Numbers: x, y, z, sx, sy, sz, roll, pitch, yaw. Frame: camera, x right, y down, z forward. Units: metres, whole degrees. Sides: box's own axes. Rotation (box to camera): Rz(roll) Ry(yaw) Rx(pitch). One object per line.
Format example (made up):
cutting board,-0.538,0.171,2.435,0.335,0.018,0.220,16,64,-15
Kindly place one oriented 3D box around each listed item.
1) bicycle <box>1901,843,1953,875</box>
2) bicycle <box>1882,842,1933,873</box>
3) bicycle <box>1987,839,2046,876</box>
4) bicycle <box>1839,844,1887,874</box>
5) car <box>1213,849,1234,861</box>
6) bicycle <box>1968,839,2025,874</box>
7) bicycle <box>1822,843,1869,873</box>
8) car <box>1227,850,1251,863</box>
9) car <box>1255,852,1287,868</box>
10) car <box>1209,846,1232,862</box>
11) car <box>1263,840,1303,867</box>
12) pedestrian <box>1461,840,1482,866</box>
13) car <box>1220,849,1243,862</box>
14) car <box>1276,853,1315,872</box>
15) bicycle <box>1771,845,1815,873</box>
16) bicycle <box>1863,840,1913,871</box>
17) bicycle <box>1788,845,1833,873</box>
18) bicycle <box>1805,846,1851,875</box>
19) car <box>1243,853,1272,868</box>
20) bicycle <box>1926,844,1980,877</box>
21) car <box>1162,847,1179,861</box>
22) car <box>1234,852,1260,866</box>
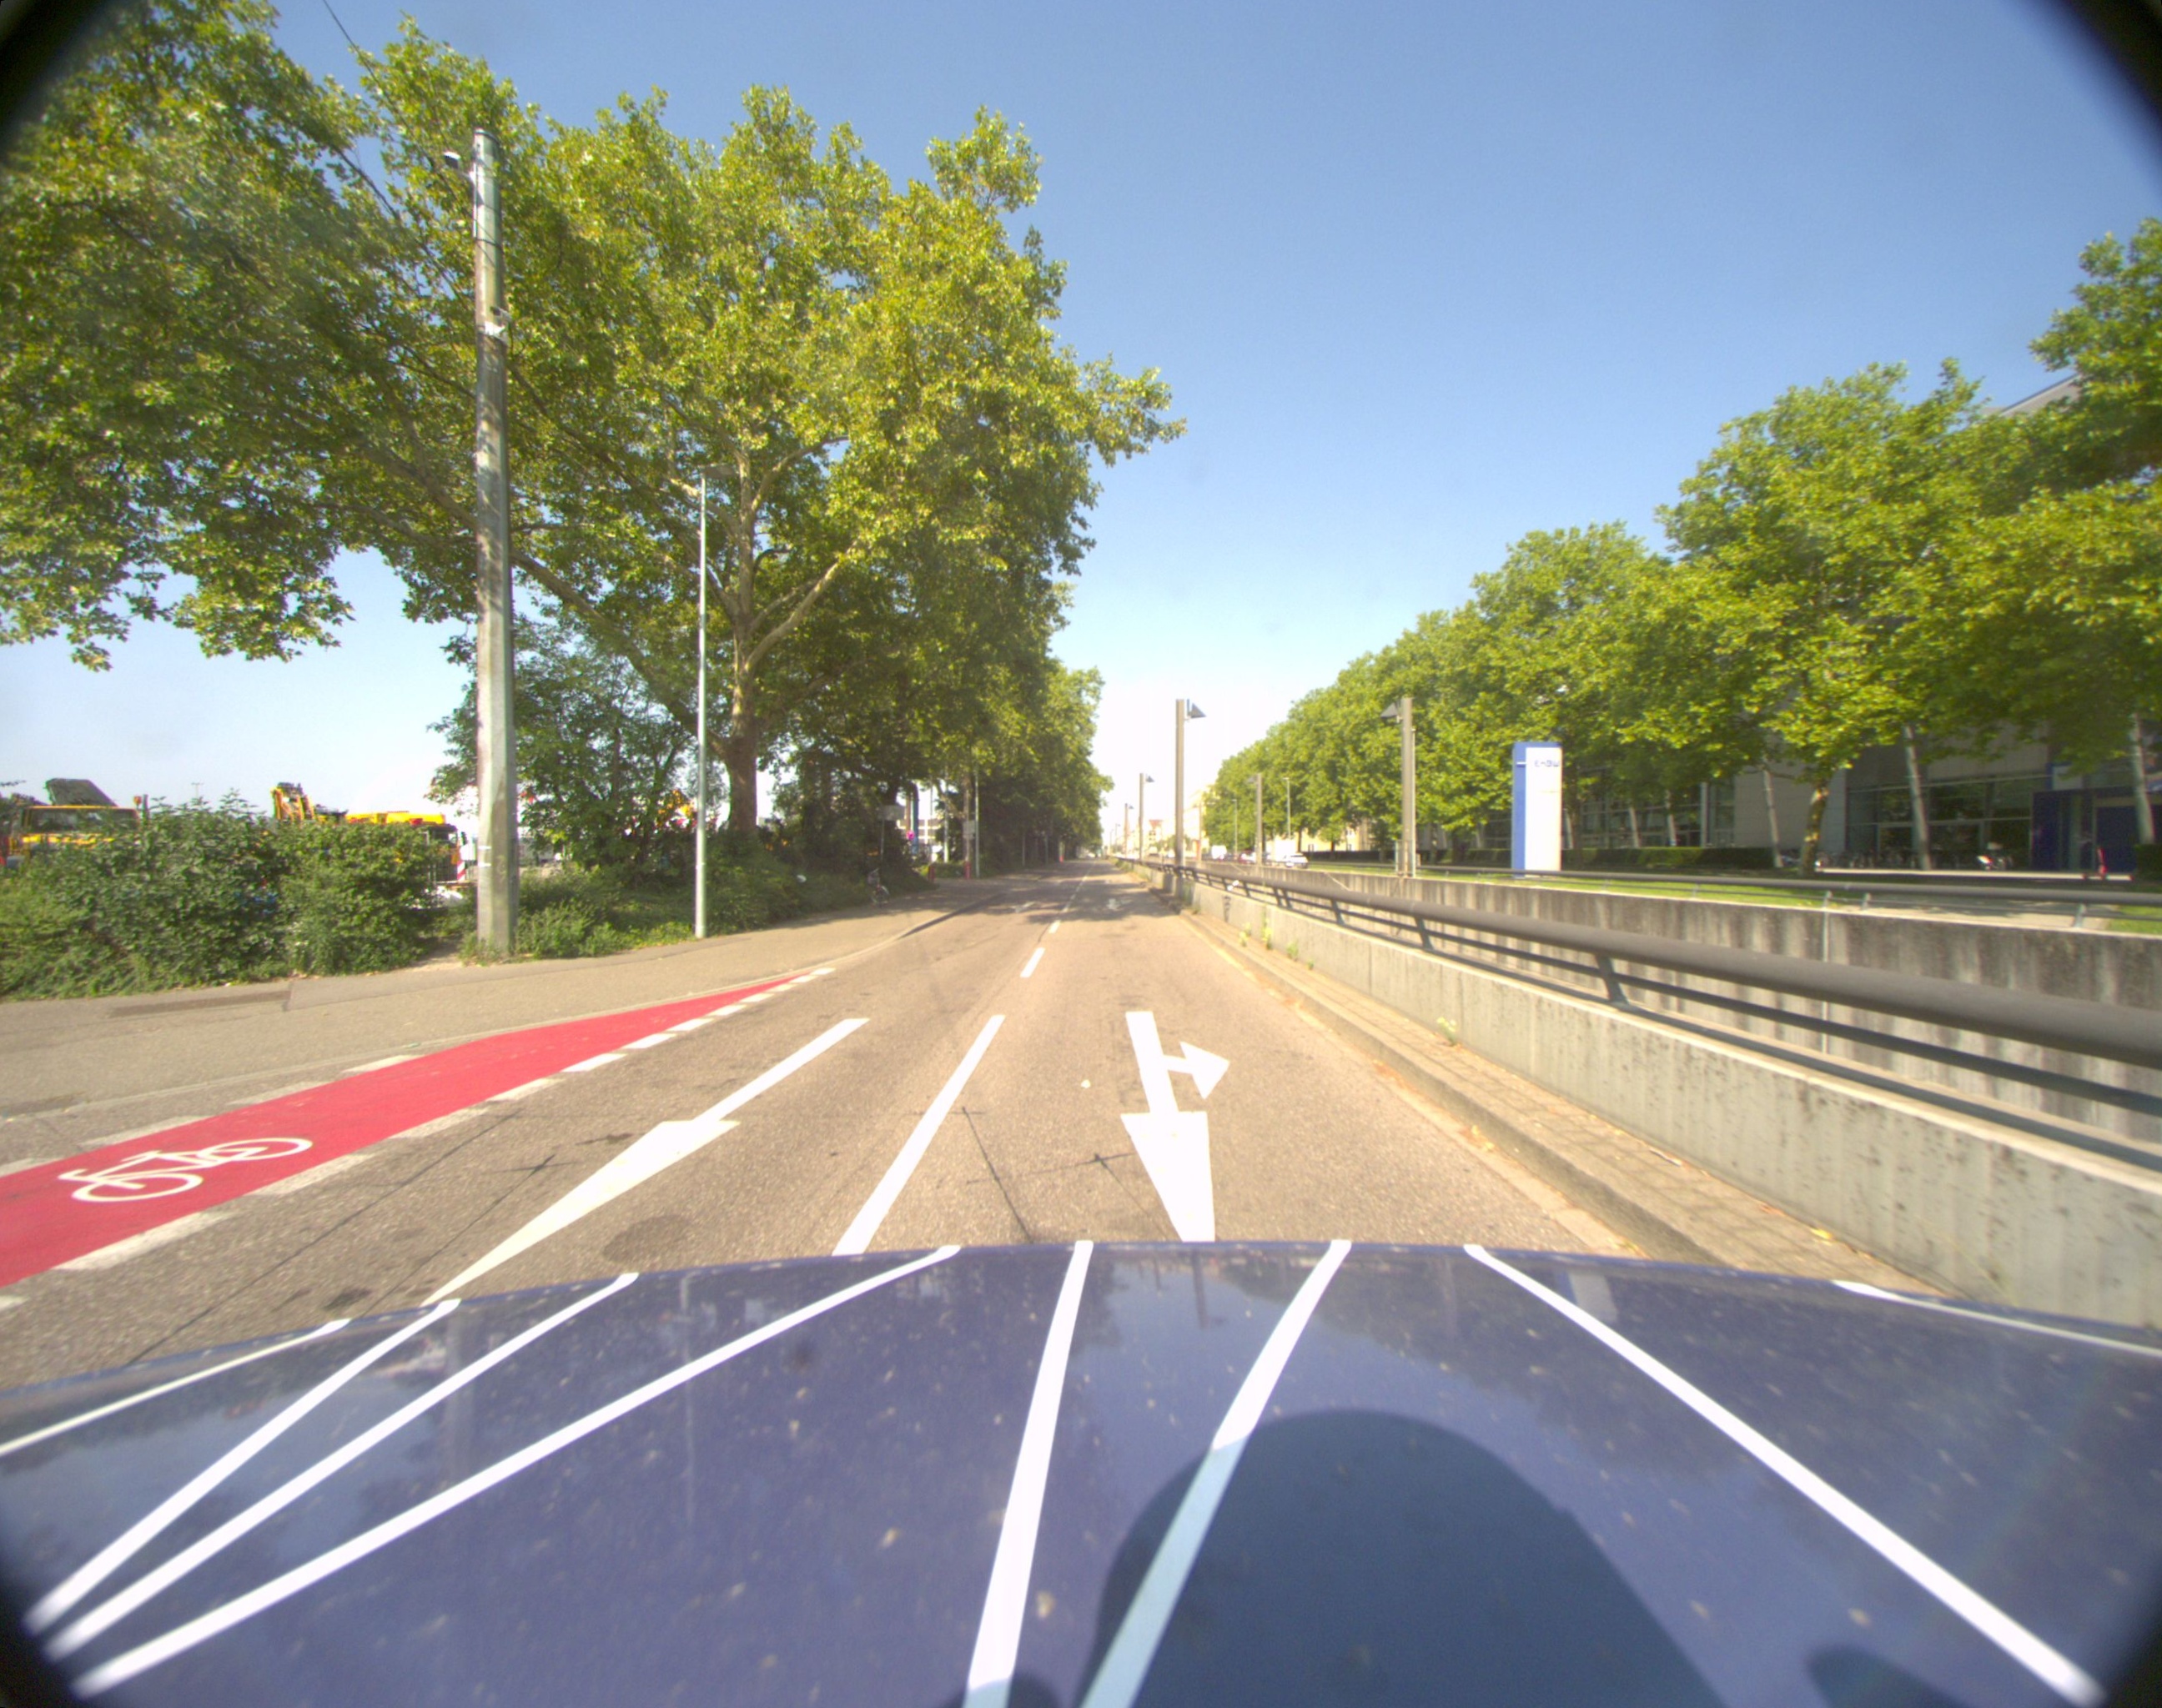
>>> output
bicycle,43.449,0.256,39.020,2.169,1.546,0.600,-3,1,-5
bicycle,43.323,0.172,39.845,2.169,1.546,0.600,-3,1,-5
bicycle,43.876,0.145,35.640,2.169,1.630,0.600,-3,1,-5
bicycle,42.947,0.284,41.738,2.169,1.546,0.600,-3,1,-5
car,18.873,0.137,100.438,1.998,1.444,4.000,-2,0,0
bicycle,43.850,0.113,36.408,2.169,1.546,0.600,-3,1,-5
bicycle,42.756,0.231,42.481,2.169,1.546,0.600,-3,1,-5
car,18.632,0.242,89.538,1.998,1.444,4.000,-2,0,0
car,18.065,0.557,72.435,1.998,1.444,4.000,-2,0,0
car,19.484,0.034,106.114,2.291,2.067,4.655,-2,0,0
car,17.895,-0.080,67.601,2.291,2.220,4.655,-2,0,0
pedestrian,31.219,-0.065,60.742,0.948,2.002,1.349,-2,1,3
car,18.628,0.201,93.960,1.998,1.444,4.000,-2,0,0
car,17.589,0.651,62.505,1.998,1.444,4.000,-2,0,0
bicycle,42.426,0.312,45.276,2.169,1.546,0.600,-3,1,-5
bicycle,43.233,0.086,40.691,2.169,1.546,0.600,-3,1,-5
bicycle,42.519,0.292,44.316,2.169,1.546,0.600,-3,1,-5
bicycle,42.620,0.383,43.352,2.169,1.546,0.600,-3,1,-5
car,18.111,0.669,78.065,1.998,1.444,4.000,-2,0,0
bicycle,43.653,0.304,38.047,2.169,1.546,0.600,-3,1,-5
car,14.259,0.007,121.028,1.999,2.002,3.998,-2,1,-4
car,18.317,0.513,83.900,1.998,1.444,4.000,-2,0,0
